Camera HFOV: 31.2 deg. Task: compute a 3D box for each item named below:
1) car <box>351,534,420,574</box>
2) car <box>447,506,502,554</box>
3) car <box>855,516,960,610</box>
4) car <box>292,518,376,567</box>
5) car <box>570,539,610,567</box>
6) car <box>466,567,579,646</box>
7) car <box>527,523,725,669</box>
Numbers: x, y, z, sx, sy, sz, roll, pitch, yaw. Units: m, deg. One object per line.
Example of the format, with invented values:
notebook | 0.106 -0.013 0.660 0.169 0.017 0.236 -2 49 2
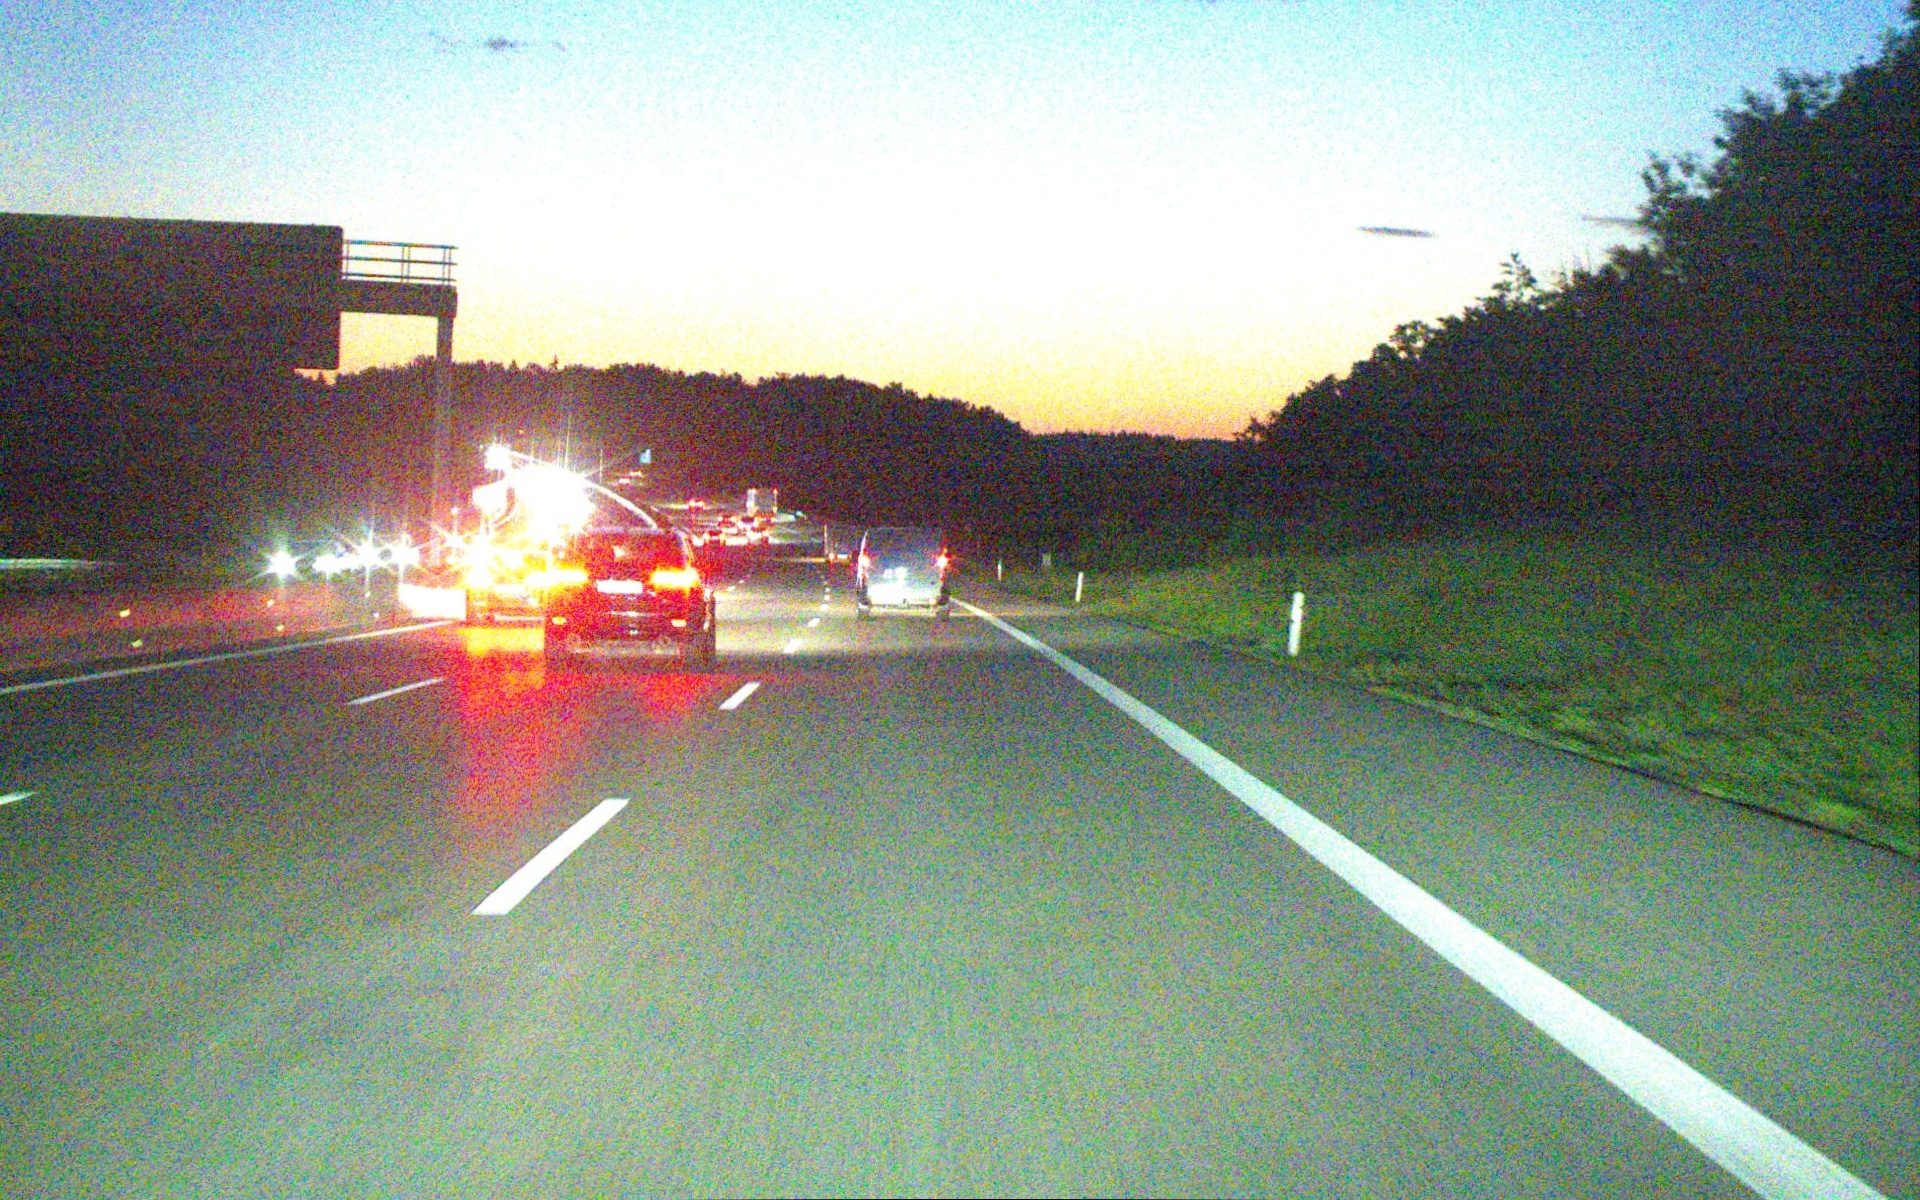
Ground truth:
car | -22.977 -1.851 137.693 1.993 1.504 5.185 1 1 -1
car | -30.199 -4.350 214.025 2.458 2.926 8.334 1 1 -2
car | -1.175 -0.836 74.757 2.196 1.948 4.764 0 2 -2
car | -20.366 -1.877 112.029 1.993 1.504 5.204 1 1 -3
car | -22.882 -2.917 212.731 1.993 1.728 4.659 1 1 -1
car | -8.367 0.089 66.100 1.549 1.426 5.515 0 1 -1
car | -4.139 -0.090 43.442 1.993 1.715 5.943 0 1 -1
